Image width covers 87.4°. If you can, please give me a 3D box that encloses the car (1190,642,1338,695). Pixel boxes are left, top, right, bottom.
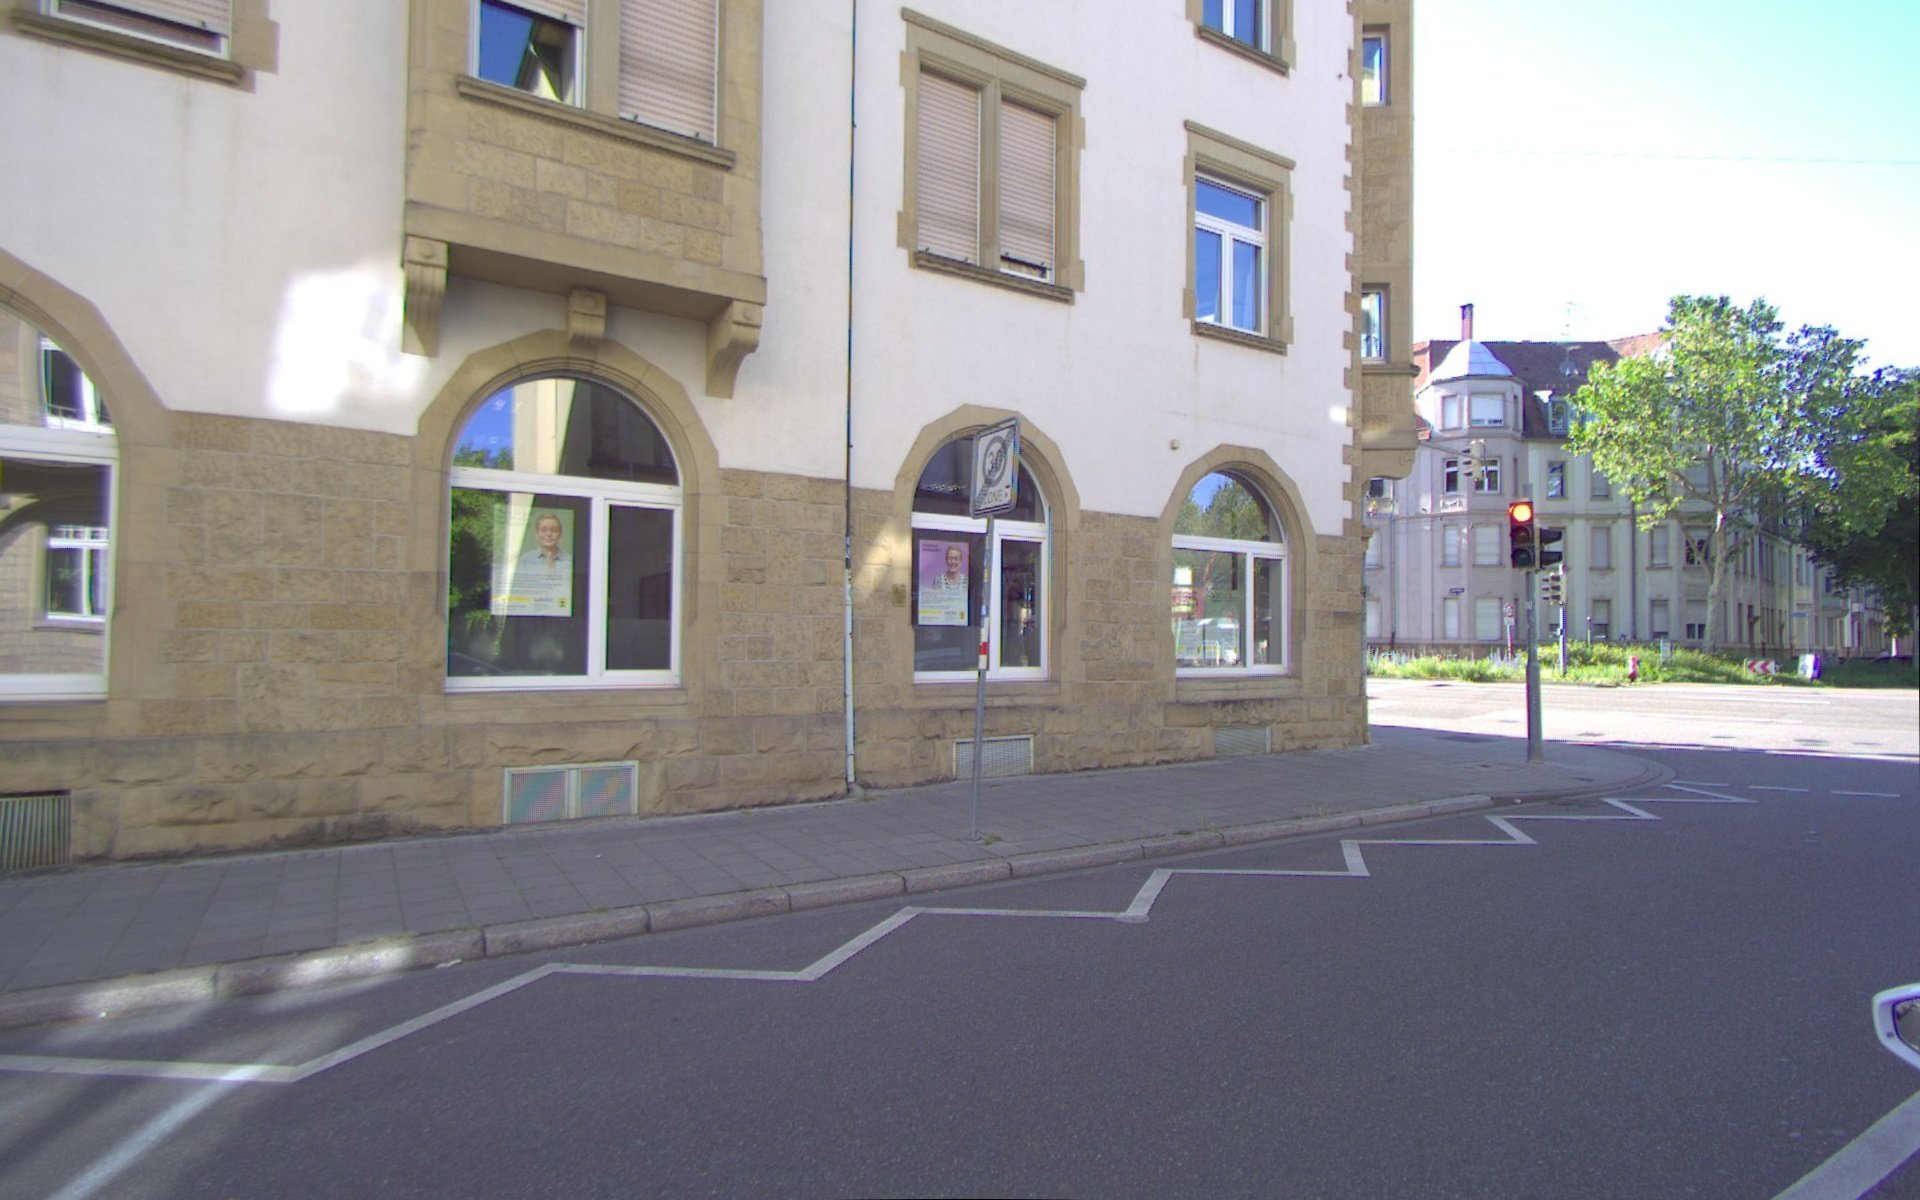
[{"bbox_3d":[9.321,2.056,30.957,3.944,1.336,1.812,2,-1,43],"label":"car"}]

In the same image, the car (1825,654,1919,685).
[{"bbox_3d":[45.839,3.447,50.154,3.943,1.505,1.673,-2,-3,42],"label":"car"}]
